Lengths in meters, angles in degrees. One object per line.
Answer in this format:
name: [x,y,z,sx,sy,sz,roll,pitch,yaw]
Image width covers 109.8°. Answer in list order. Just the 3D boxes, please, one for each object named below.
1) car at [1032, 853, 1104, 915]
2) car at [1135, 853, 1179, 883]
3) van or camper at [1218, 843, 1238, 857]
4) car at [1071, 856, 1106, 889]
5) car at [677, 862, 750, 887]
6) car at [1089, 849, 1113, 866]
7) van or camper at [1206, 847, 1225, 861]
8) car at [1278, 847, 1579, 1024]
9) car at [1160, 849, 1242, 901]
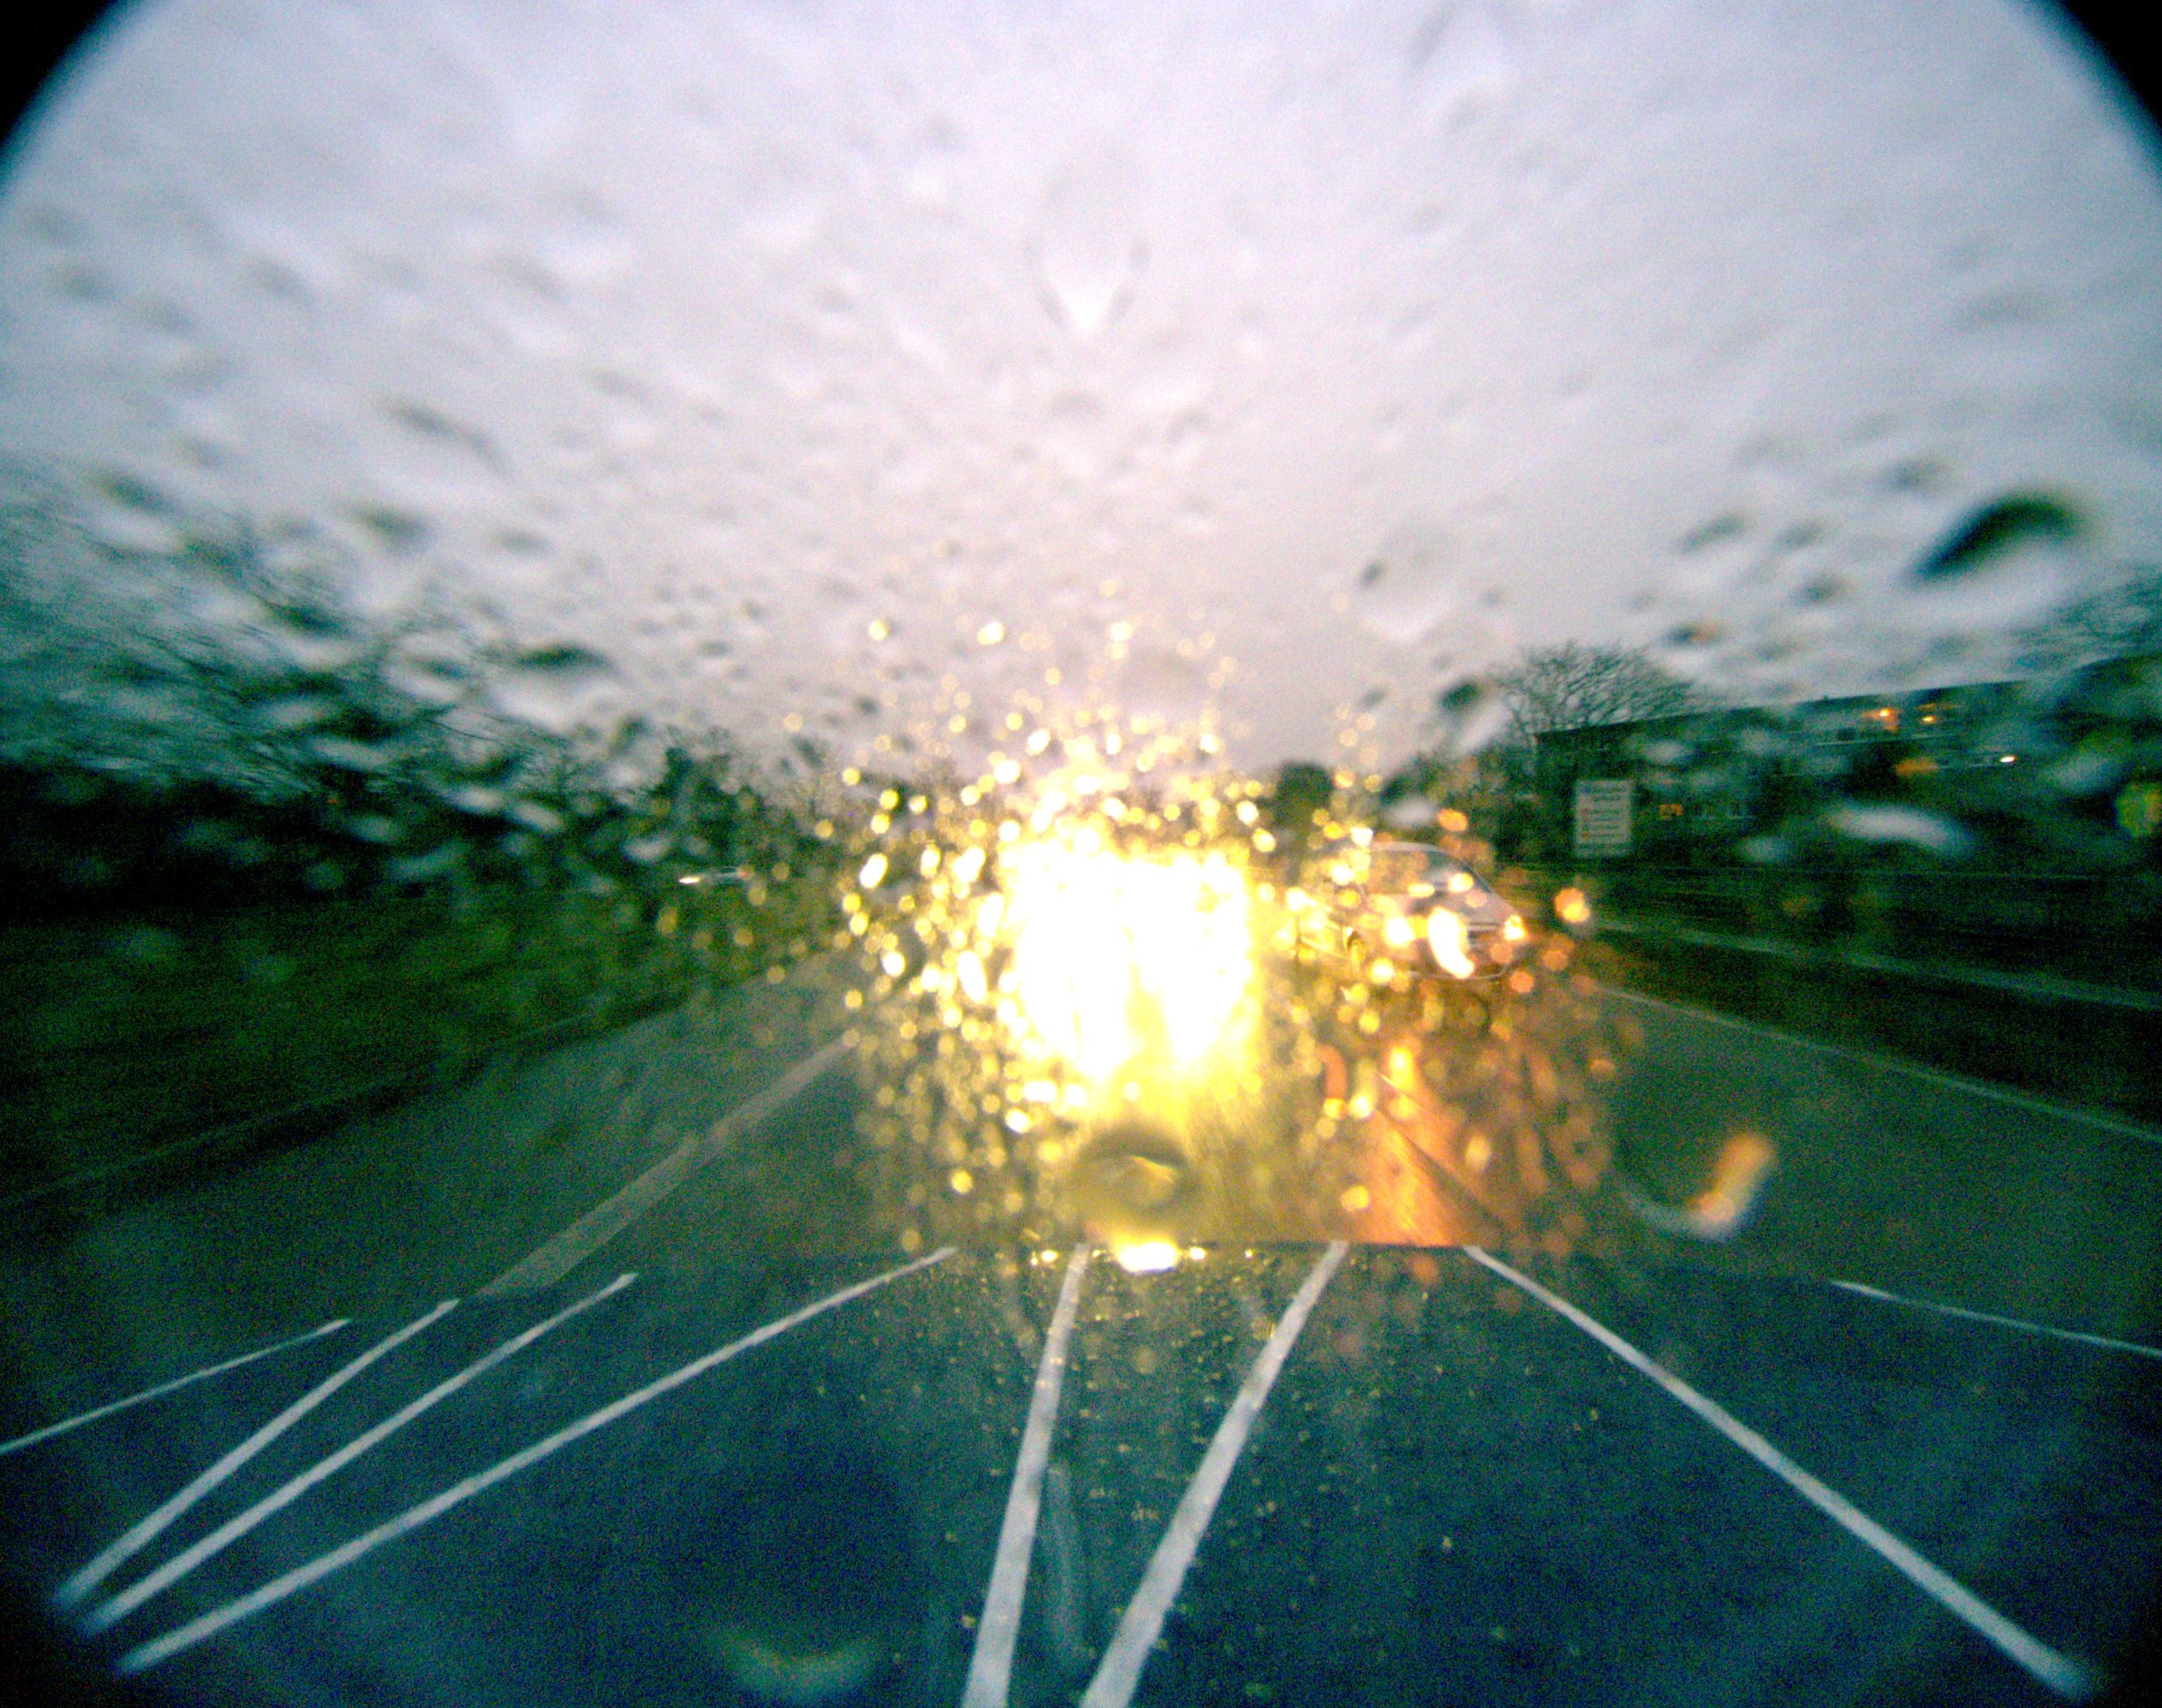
car: [-0.301,0.766,21.417,1.830,1.524,3.999,-1,1,1]
car: [3.728,0.658,37.958,1.697,1.327,3.999,-2,1,-1]
van or camper: [19.039,-0.477,98.608,1.765,1.726,4.884,-2,0,3]
car: [0.433,0.911,39.761,1.728,1.573,3.791,-1,1,2]
car: [-23.261,1.265,48.215,1.724,1.426,3.798,0,1,33]
car: [1.999,0.302,76.941,1.853,1.610,3.949,-2,1,-5]
van or camper: [14.546,-0.026,82.337,1.530,1.473,4.434,-2,0,3]
car: [3.698,0.729,9.005,1.765,1.590,4.165,-1,1,2]
car: [3.869,0.638,25.198,2.027,1.522,4.145,-1,1,0]
